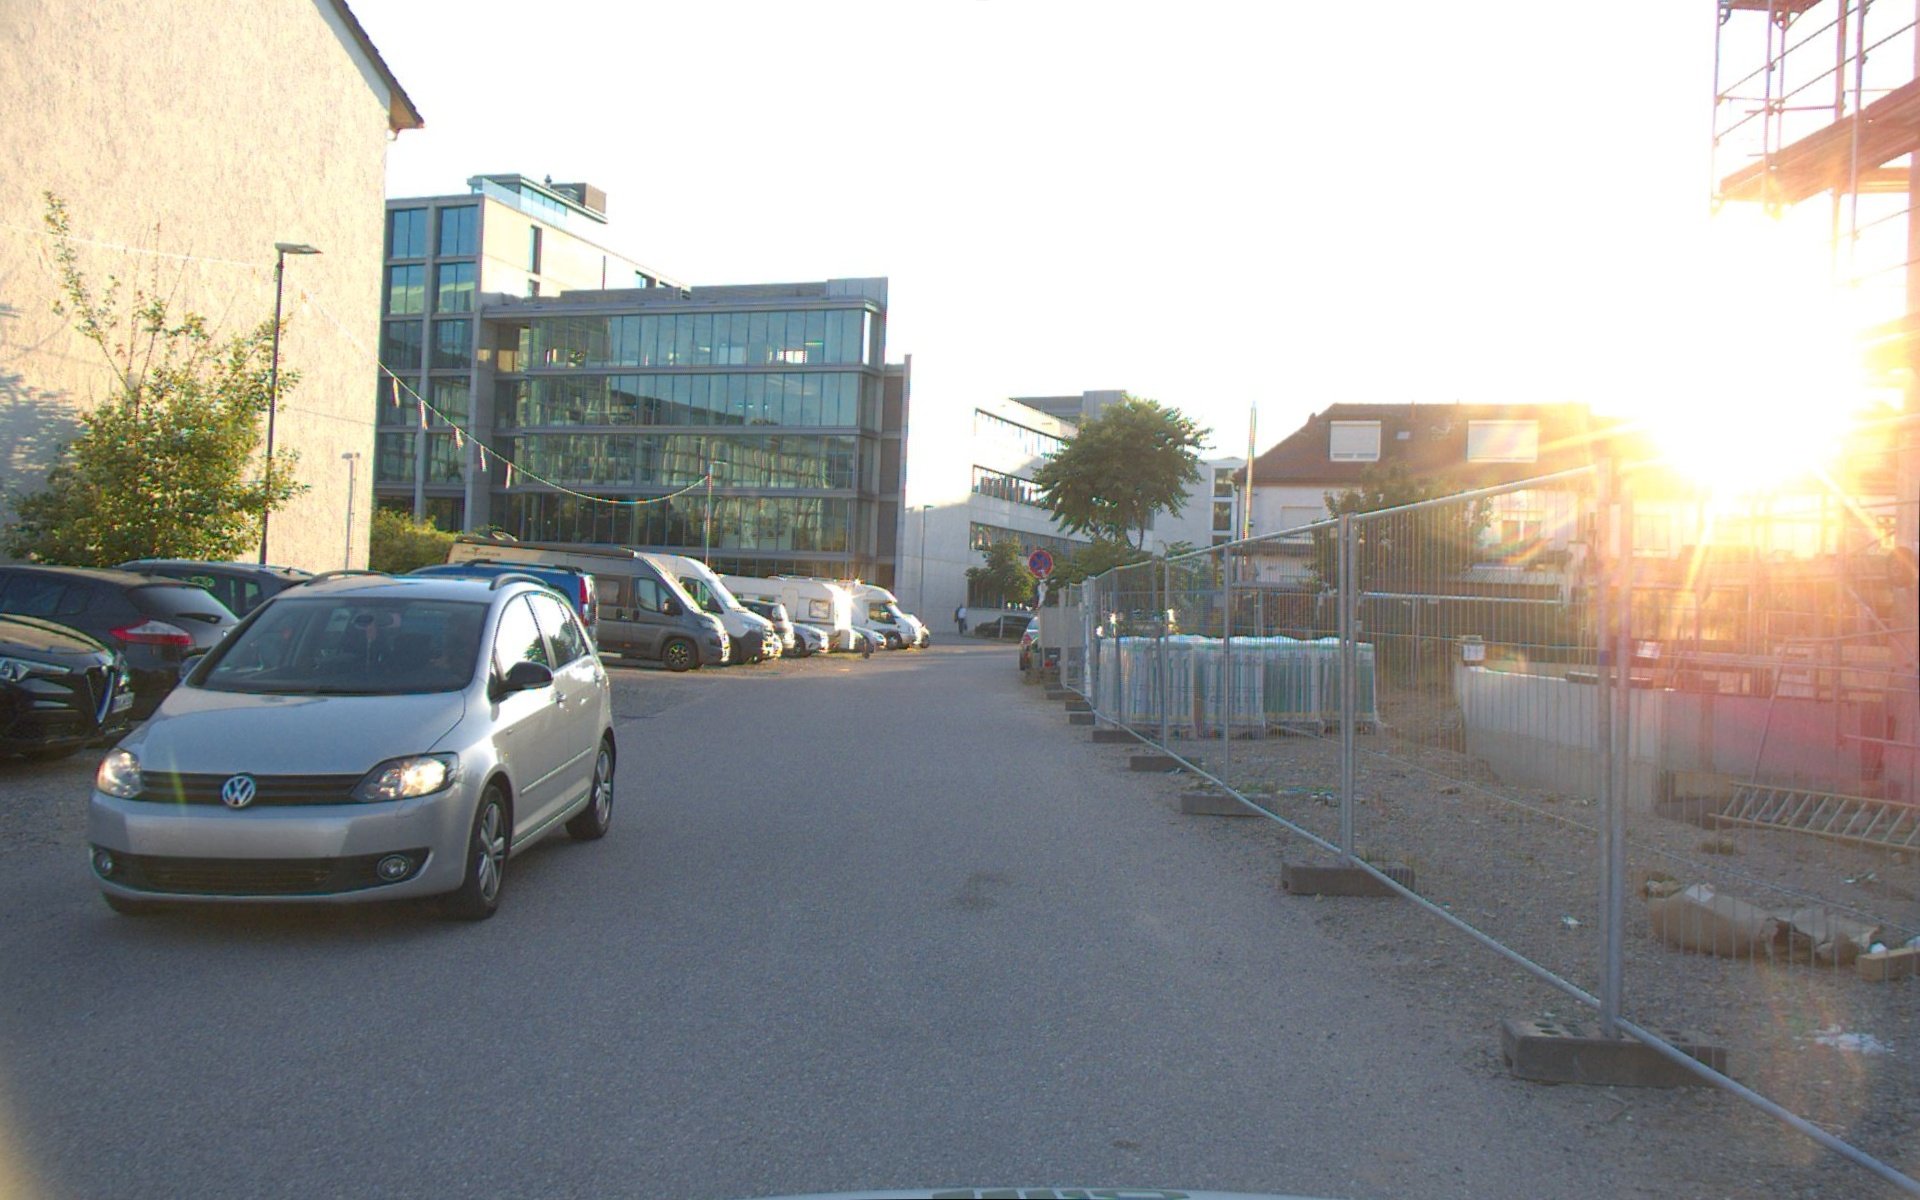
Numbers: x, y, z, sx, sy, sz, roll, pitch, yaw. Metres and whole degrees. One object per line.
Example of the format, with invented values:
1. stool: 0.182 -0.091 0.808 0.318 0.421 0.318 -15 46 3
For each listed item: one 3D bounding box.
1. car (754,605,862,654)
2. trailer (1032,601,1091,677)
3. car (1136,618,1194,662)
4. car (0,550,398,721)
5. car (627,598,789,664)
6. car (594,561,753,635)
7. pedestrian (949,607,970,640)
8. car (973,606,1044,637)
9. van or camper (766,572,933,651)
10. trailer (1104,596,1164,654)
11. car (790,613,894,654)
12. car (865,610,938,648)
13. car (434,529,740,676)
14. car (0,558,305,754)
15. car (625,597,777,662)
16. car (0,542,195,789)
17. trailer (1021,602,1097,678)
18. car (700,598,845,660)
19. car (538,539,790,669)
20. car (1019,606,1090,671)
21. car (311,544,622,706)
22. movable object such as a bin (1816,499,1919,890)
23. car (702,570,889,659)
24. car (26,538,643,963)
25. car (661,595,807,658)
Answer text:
1. car: -5.494 1.052 60.100 3.552 1.545 1.706 3 0 6
2. trailer: 2.314 0.882 38.204 1.224 1.694 2.803 0 -1 1
3. car: 10.507 1.985 84.520 2.022 2.131 4.874 1 0 17
4. car: -8.326 0.351 17.951 3.842 1.608 1.644 2 0 8
5. car: -6.611 0.815 43.701 3.843 1.533 1.791 3 -1 5
6. car: -12.059 -0.083 69.620 6.111 2.719 2.224 3 0 15
7. pedestrian: -0.029 1.343 95.676 0.893 1.883 0.845 1 0 -38
8. car: 2.738 1.228 93.770 3.656 1.507 1.771 3 1 15
9. van or camper: -4.667 0.486 70.454 6.597 2.948 2.410 3 0 10
10. trailer: 7.262 1.012 68.631 2.020 2.250 5.227 1 0 10
11. car: -4.633 1.298 65.109 3.727 1.352 1.694 3 0 8
12. car: -2.585 1.323 73.870 1.652 1.545 4.361 3 -1 20
13. car: -8.294 0.081 37.266 6.261 2.760 2.112 4 -2 -3
14. car: -8.090 0.435 14.703 3.842 1.543 1.644 2 -1 8
15. car: -7.288 0.850 46.699 3.843 1.618 1.749 3 -2 5
16. car: -8.081 0.365 12.167 4.004 1.656 1.821 2 1 2
17. trailer: 2.557 0.977 41.931 1.694 1.809 4.940 0 -1 6
18. car: -5.844 0.893 51.654 4.039 1.618 1.749 4 0 13
19. car: -7.334 0.103 41.352 5.705 2.760 2.051 4 0 3
20. car: 2.777 1.073 47.732 1.767 1.755 4.931 0 -1 6
21. car: -6.863 0.342 23.371 3.853 1.944 1.745 4 0 -8
22. movable object such as a bin: 6.664 0.565 6.778 2.022 2.313 8.368 1 0 0
23. car: -5.596 0.501 56.584 5.763 2.578 2.413 4 -2 11
24. car: -2.930 0.624 8.822 1.636 1.648 4.284 2 0 -1
25. car: -6.688 0.773 49.007 3.842 1.618 1.749 3 0 13
